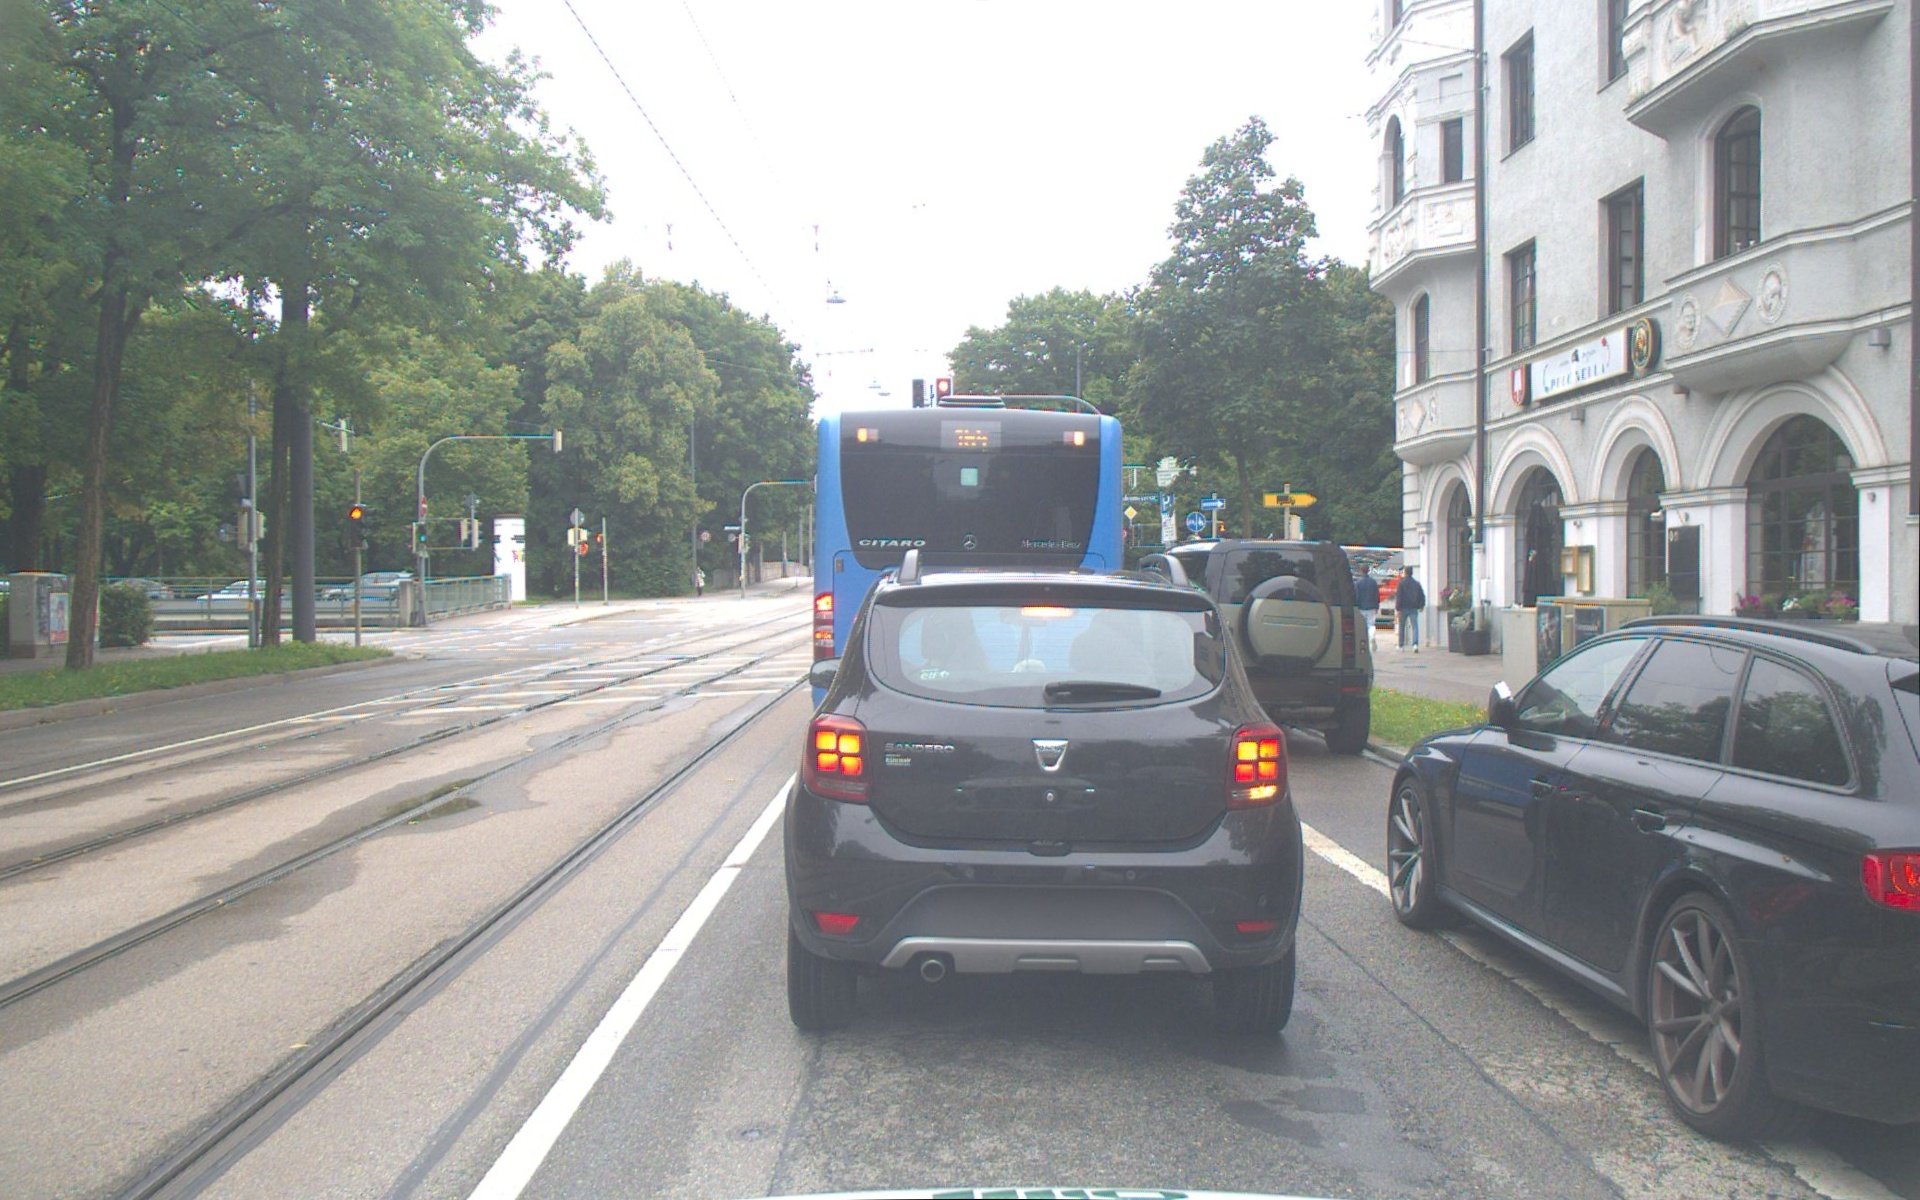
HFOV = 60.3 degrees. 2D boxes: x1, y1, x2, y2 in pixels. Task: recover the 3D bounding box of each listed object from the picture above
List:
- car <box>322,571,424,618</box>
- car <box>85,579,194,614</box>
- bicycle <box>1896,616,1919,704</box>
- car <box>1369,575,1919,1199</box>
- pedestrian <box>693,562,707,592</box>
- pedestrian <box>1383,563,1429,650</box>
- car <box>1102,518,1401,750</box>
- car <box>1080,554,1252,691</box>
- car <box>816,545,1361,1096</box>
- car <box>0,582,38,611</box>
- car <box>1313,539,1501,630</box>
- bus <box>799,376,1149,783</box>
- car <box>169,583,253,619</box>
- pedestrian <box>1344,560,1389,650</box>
[{"bbox_3d":[-25.790,-0.246,72.780,3.946,1.920,1.488,1,0,-8],"label":"car"},{"bbox_3d":[-35.624,-0.160,71.886,3.848,1.429,1.719,1,0,-5],"label":"car"},{"bbox_3d":[10.451,0.650,17.783,0.254,0.947,0.886,1,0,0],"label":"bicycle"},{"bbox_3d":[2.926,0.680,5.881,1.681,1.451,4.601,1,0,-1],"label":"car"},{"bbox_3d":[-13.405,-1.177,85.289,0.520,1.527,0.588,1,0,4],"label":"pedestrian"},{"bbox_3d":[9.298,0.131,34.523,0.690,1.762,0.843,1,0,-1],"label":"pedestrian"},{"bbox_3d":[2.698,0.279,16.511,1.876,1.939,4.805,1,0,-3],"label":"car"},{"bbox_3d":[2.655,0.267,22.181,1.679,1.619,4.326,1,0,-1],"label":"car"},{"bbox_3d":[0.342,0.642,6.614,1.568,1.584,3.524,1,0,-1],"label":"car"},{"bbox_3d":[-41.915,-0.172,71.197,3.656,1.206,1.249,1,0,-6],"label":"car"},{"bbox_3d":[13.913,-0.468,51.657,5.191,2.658,2.229,1,0,-4],"label":"car"},{"bbox_3d":[-0.039,-0.169,16.148,2.625,3.050,6.957,1,0,-3],"label":"bus"},{"bbox_3d":[-32.618,0.031,72.084,3.050,1.477,1.249,1,0,-6],"label":"car"},{"bbox_3d":[8.524,0.104,34.706,0.690,1.848,0.869,1,0,-1],"label":"pedestrian"}]
